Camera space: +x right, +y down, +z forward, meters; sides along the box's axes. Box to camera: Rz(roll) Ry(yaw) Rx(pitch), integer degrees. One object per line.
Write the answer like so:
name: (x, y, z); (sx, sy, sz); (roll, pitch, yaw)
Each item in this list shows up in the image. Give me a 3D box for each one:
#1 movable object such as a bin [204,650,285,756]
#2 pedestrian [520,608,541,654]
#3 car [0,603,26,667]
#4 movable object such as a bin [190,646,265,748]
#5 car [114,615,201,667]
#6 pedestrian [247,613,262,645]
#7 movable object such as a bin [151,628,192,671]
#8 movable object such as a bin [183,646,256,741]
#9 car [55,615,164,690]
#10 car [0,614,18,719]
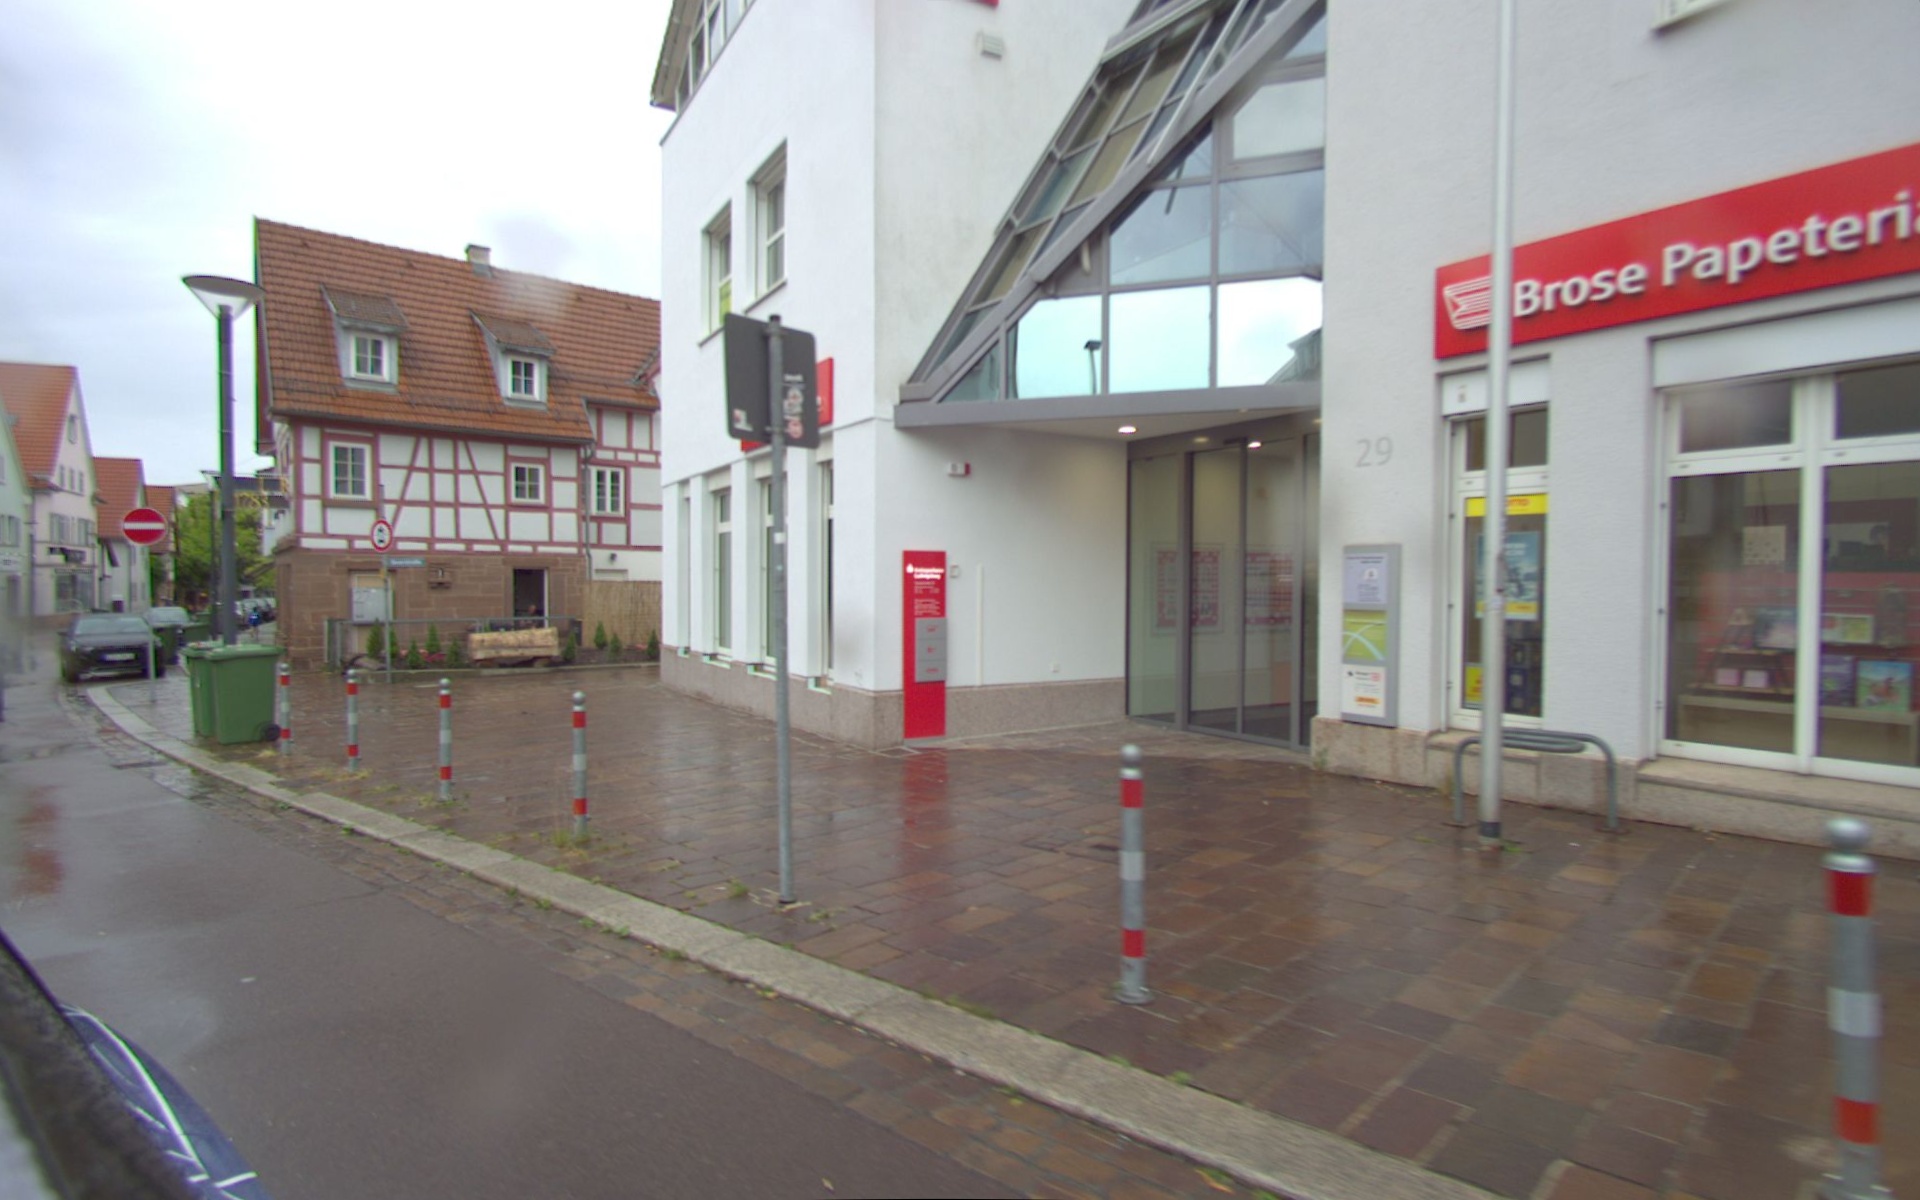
movable object such as a bin: (-8.000, 1.130, 11.317); (0.651, 1.104, 0.613); (1, -1, -45)
pedestrian: (-10.946, 0.783, 25.791); (0.406, 1.163, 0.425); (0, -1, -40)
car: (-28.290, 0.965, 29.058); (1.968, 1.763, 4.007); (0, -1, -40)
movable object such as a bin: (-8.629, 1.118, 11.922); (0.650, 1.123, 0.553); (0, -1, -43)
car: (-27.749, 1.366, 35.110); (1.967, 1.540, 4.011); (-3, 1, -34)
pedestrian: (-28.837, 1.173, 41.372); (0.448, 1.317, 0.519); (1, -1, -33)
movable object such as a bin: (-21.337, 1.326, 27.384); (0.822, 1.120, 0.920); (0, -1, -41)
movable object such as a bin: (-9.074, 1.122, 12.401); (0.650, 1.090, 0.553); (0, -1, -43)
car: (-19.855, 1.146, 23.569); (1.670, 1.497, 4.004); (-3, 2, -43)
car: (-15.499, 0.998, 15.203); (1.710, 1.567, 3.851); (0, -1, -39)
